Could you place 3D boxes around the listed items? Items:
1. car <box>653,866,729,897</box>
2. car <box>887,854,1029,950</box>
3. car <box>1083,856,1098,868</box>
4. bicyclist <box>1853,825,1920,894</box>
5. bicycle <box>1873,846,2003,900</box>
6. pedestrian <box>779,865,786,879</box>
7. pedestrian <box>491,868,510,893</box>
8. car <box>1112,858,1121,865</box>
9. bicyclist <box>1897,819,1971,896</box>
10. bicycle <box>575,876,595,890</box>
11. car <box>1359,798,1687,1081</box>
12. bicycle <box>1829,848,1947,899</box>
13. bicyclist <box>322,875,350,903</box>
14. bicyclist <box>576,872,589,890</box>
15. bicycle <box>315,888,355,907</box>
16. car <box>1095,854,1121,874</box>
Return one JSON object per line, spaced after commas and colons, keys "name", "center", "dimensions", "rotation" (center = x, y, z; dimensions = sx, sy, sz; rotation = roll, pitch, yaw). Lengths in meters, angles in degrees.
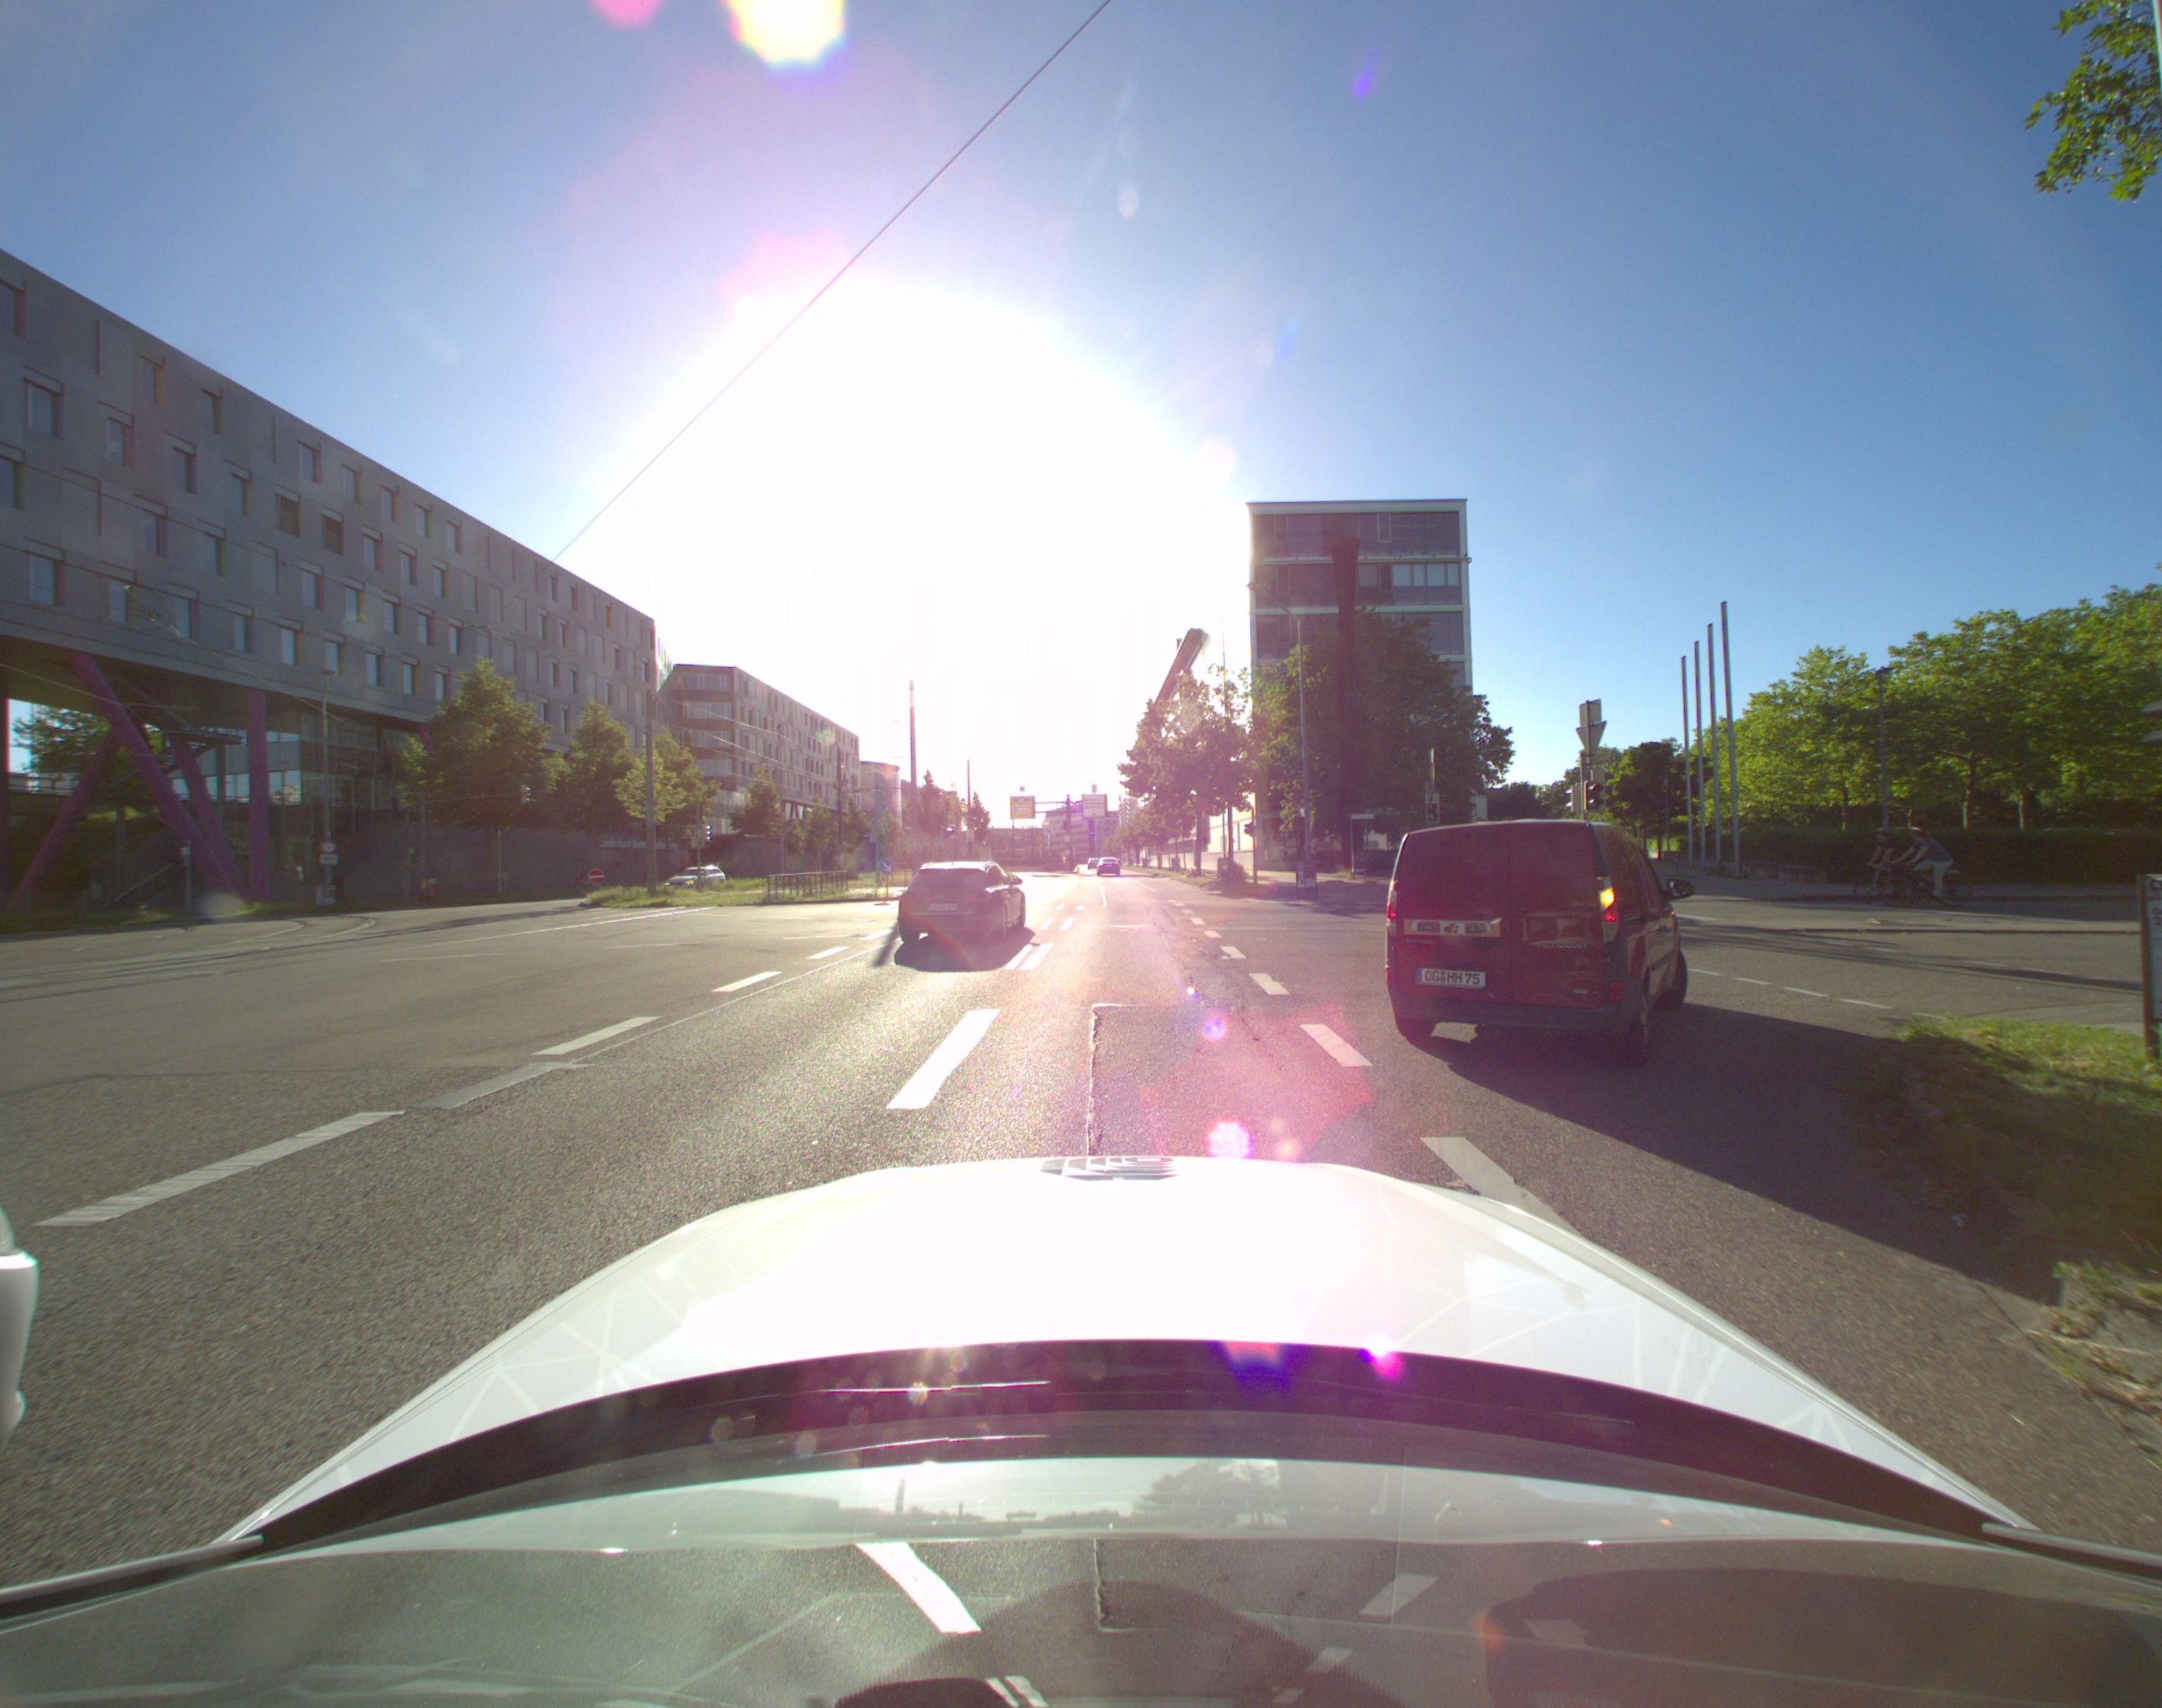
{"name": "car", "center": [-21.887, 1.485, 45.955], "dimensions": [1.988, 1.562, 4.869], "rotation": [-2, 0, -1]}
{"name": "car", "center": [-2.188, 0.791, 15.836], "dimensions": [1.805, 1.427, 4.693], "rotation": [-2, 1, 2]}
{"name": "car", "center": [1.228, 1.056, 105.095], "dimensions": [1.987, 1.465, 4.001], "rotation": [-1, 0, 1]}
{"name": "bicyclist", "center": [19.947, 0.132, 20.185], "dimensions": [0.868, 1.653, 0.796], "rotation": [-2, 0, 16]}
{"name": "bicycle", "center": [19.962, 0.442, 19.008], "dimensions": [2.081, 1.203, 0.553], "rotation": [-2, 0, 17]}
{"name": "pedestrian", "center": [-43.576, 2.595, 118.772], "dimensions": [0.733, 2.014, 0.689], "rotation": [-2, -1, 0]}
{"name": "pedestrian", "center": [-42.422, 1.926, 59.557], "dimensions": [0.718, 1.822, 0.871], "rotation": [-2, 0, 0]}
{"name": "car", "center": [8.091, 1.769, 186.306], "dimensions": [1.847, 1.481, 4.852], "rotation": [-3, 0, -1]}
{"name": "bicyclist", "center": [19.936, 0.081, 19.057], "dimensions": [0.867, 1.737, 0.836], "rotation": [-2, 0, 17]}
{"name": "bicycle", "center": [-42.655, 2.471, 70.074], "dimensions": [0.518, 1.172, 1.975], "rotation": [-2, 0, 0]}
{"name": "car", "center": [4.211, 0.561, 7.396], "dimensions": [1.830, 1.815, 4.140], "rotation": [0, -1, 40]}
{"name": "bicycle", "center": [19.964, 0.489, 20.185], "dimensions": [2.082, 1.203, 0.553], "rotation": [-2, 0, 14]}
{"name": "bicyclist", "center": [-40.061, 1.876, 43.794], "dimensions": [0.568, 1.435, 0.959], "rotation": [-1, 0, 1]}
{"name": "bicyclist", "center": [-42.881, 2.320, 70.077], "dimensions": [0.556, 1.496, 0.763], "rotation": [-2, -1, 0]}
{"name": "bicycle", "center": [-40.054, 2.328, 43.747], "dimensions": [0.573, 0.863, 1.692], "rotation": [-1, 0, 1]}
{"name": "car", "center": [2.015, 0.745, 62.801], "dimensions": [1.847, 1.546, 3.999], "rotation": [0, 0, -1]}
